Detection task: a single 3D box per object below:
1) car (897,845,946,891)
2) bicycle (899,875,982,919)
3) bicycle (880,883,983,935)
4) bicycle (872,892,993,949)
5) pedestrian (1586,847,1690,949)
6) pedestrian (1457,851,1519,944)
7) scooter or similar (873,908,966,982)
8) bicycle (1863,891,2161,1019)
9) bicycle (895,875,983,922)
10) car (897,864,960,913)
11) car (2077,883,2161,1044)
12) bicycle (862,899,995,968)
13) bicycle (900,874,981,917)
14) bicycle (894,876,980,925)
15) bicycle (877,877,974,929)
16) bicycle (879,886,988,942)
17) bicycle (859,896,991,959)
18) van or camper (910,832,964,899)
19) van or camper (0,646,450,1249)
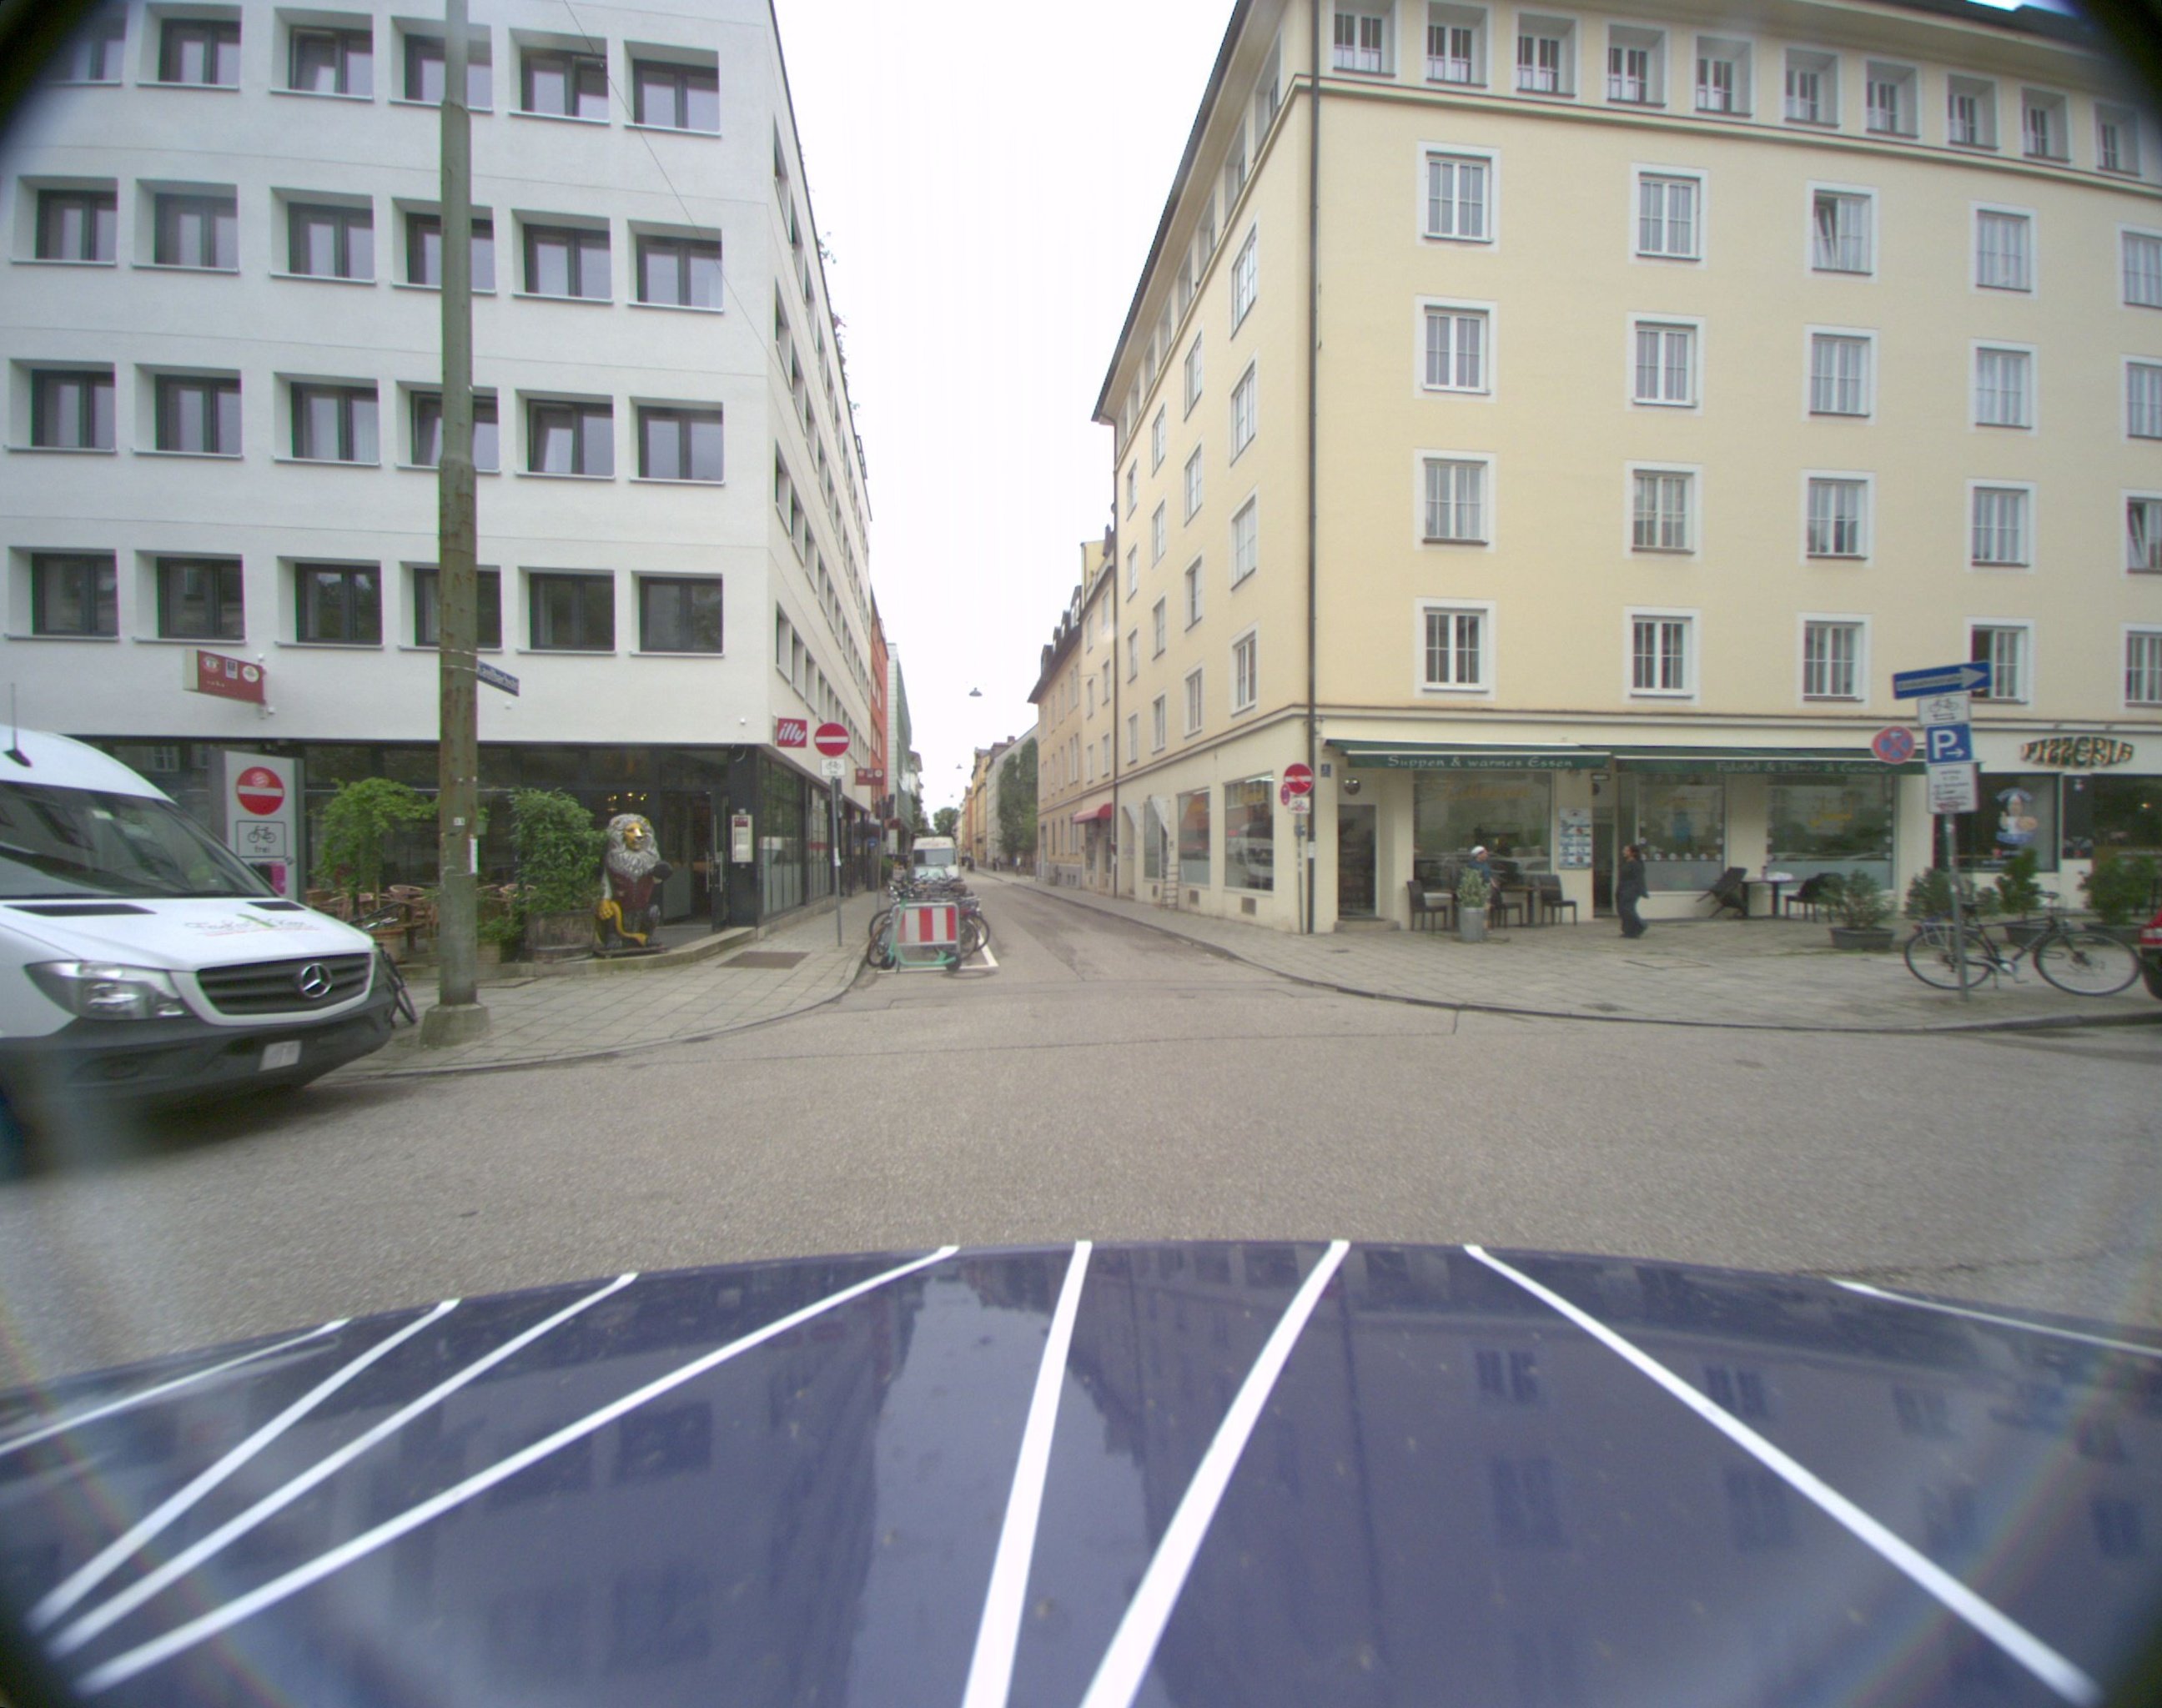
[{"bbox_3d":[-7.795,0.642,36.926,2.001,2.121,3.994,0,0,-16],"label":"car"},{"bbox_3d":[-3.823,1.159,20.776,2.206,1.139,0.695,0,1,-9],"label":"bicycle"},{"bbox_3d":[-3.239,1.187,16.648,2.153,1.026,0.974,0,1,-9],"label":"bicycle"},{"bbox_3d":[-2.785,1.235,14.425,2.175,0.958,0.974,0,1,-9],"label":"bicycle"},{"bbox_3d":[9.427,0.712,12.896,1.125,1.667,0.870,0,1,-6],"label":"pedestrian"},{"bbox_3d":[7.317,0.752,13.655,0.920,1.601,0.777,0,1,33],"label":"pedestrian"},{"bbox_3d":[-2.319,1.300,10.987,1.283,0.970,0.498,0,1,-9],"label":"scooter or similar"},{"bbox_3d":[10.386,1.067,8.469,2.149,1.195,0.811,1,1,23],"label":"bicycle"},{"bbox_3d":[-3.643,1.127,19.563,2.181,1.139,0.674,0,1,-9],"label":"bicycle"},{"bbox_3d":[-4.837,1.037,24.563,1.759,1.386,3.997,0,0,-8],"label":"car"},{"bbox_3d":[12.234,0.967,6.791,4.489,1.473,2.029,0,-4,-8],"label":"car"},{"bbox_3d":[-2.399,1.239,12.112,1.994,0.958,0.973,0,1,-9],"label":"bicycle"},{"bbox_3d":[-3.979,1.165,21.617,2.207,1.139,0.639,0,1,-9],"label":"bicycle"},{"bbox_3d":[-3.547,1.145,18.826,2.036,1.139,0.668,0,1,-9],"label":"bicycle"},{"bbox_3d":[-3.651,1.138,17.973,2.208,1.139,0.739,0,1,-9],"label":"bicycle"},{"bbox_3d":[-2.975,1.201,15.511,2.106,1.026,0.974,0,1,-9],"label":"bicycle"},{"bbox_3d":[-2.680,1.253,13.270,2.178,0.971,0.974,0,1,-9],"label":"bicycle"},{"bbox_3d":[-5.974,0.407,31.139,1.968,2.494,5.717,0,0,-12],"label":"van or camper"},{"bbox_3d":[-7.611,0.463,4.327,5.869,2.697,2.304,0,-2,-5],"label":"van or camper"}]
